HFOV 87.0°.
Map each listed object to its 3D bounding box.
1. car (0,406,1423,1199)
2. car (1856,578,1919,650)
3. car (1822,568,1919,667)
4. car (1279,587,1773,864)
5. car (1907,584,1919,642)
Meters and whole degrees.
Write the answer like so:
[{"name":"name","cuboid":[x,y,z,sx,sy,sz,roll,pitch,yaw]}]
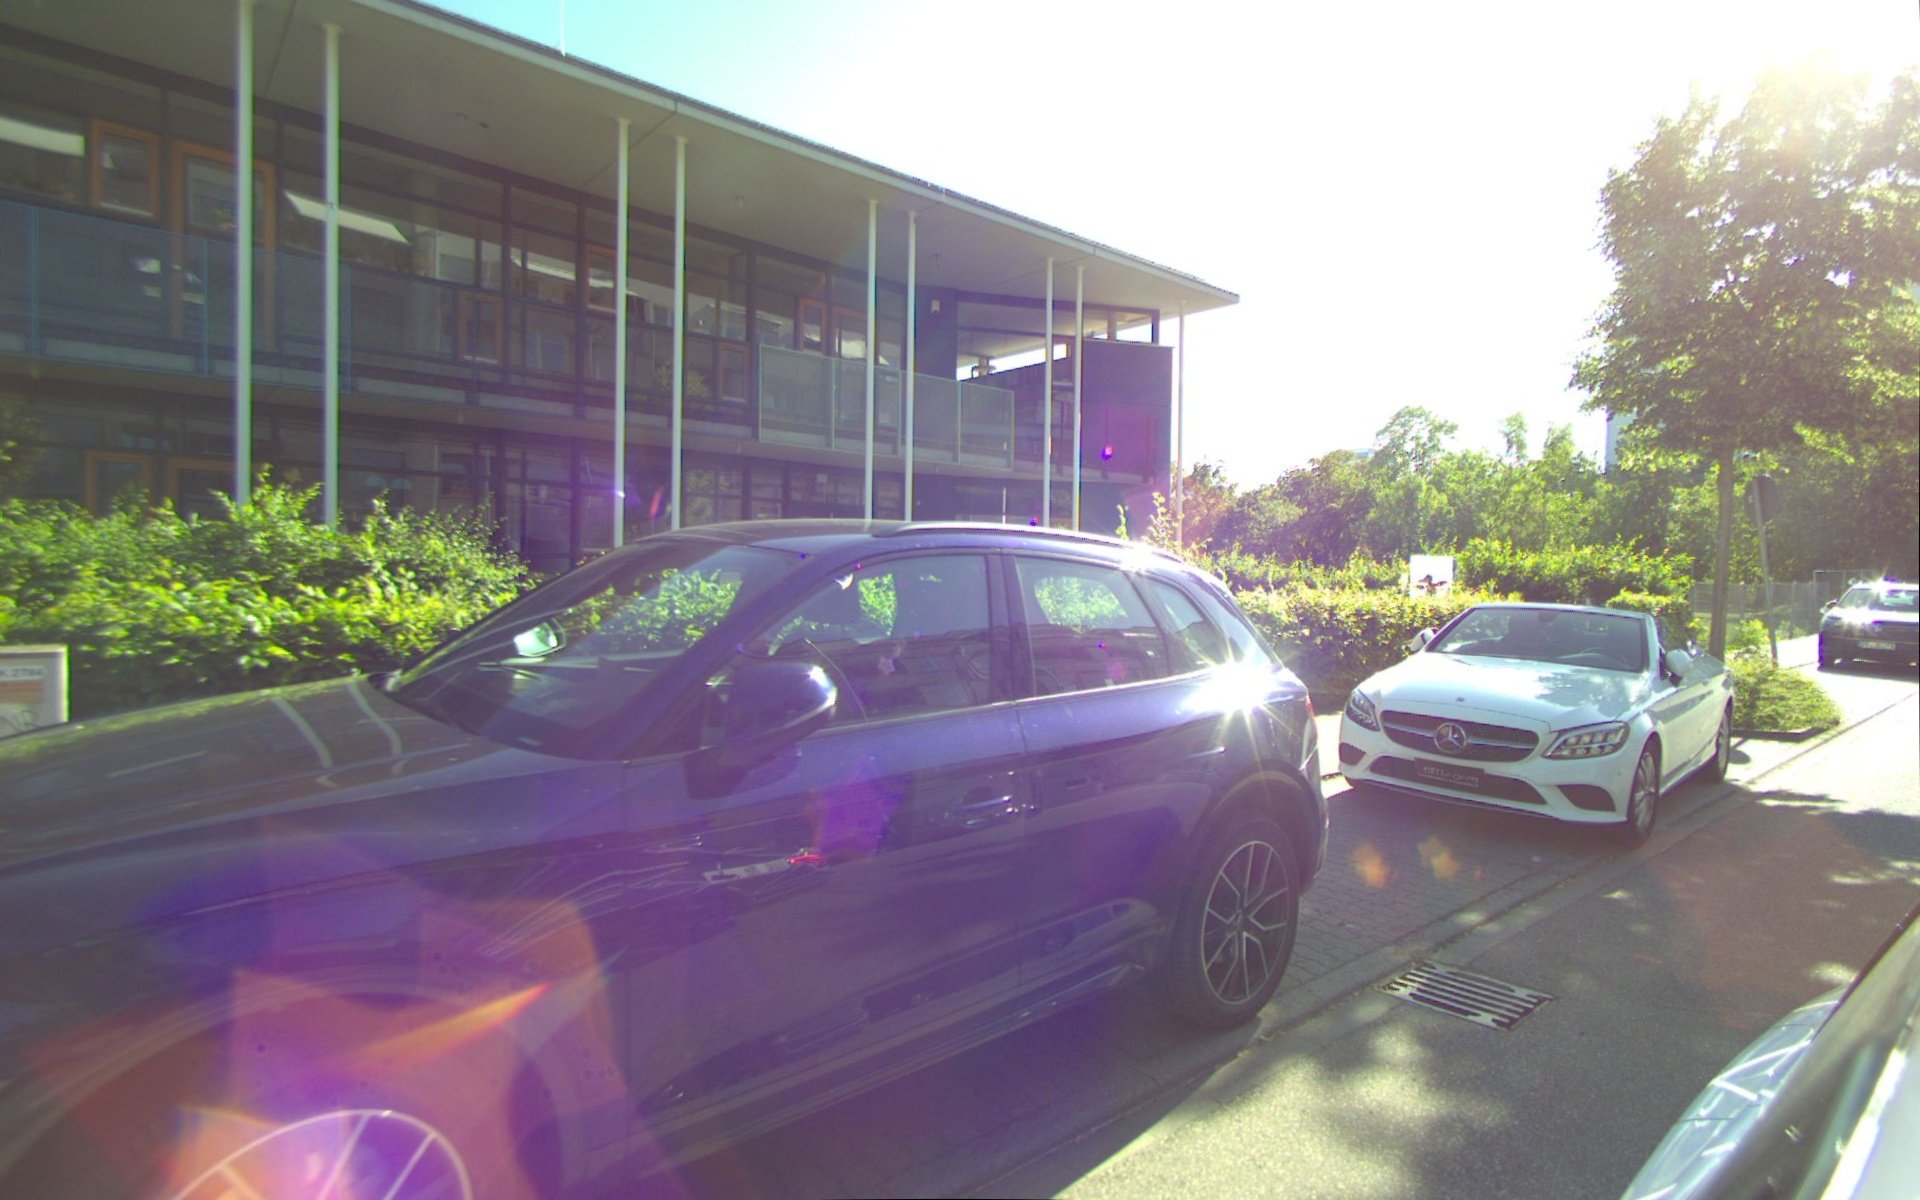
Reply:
[{"name":"car","cuboid":[-0.543,0.534,3.164,4.333,1.703,1.905,0,4,-40]},{"name":"car","cuboid":[22.069,0.310,23.139,3.775,1.484,1.823,-1,5,-41]},{"name":"car","cuboid":[18.364,0.305,19.587,4.410,1.667,1.823,-1,5,-41]},{"name":"car","cuboid":[4.504,0.631,7.659,4.698,1.335,1.965,-1,5,-44]},{"name":"car","cuboid":[27.275,0.378,27.492,3.776,1.484,1.823,-2,6,-41]}]
